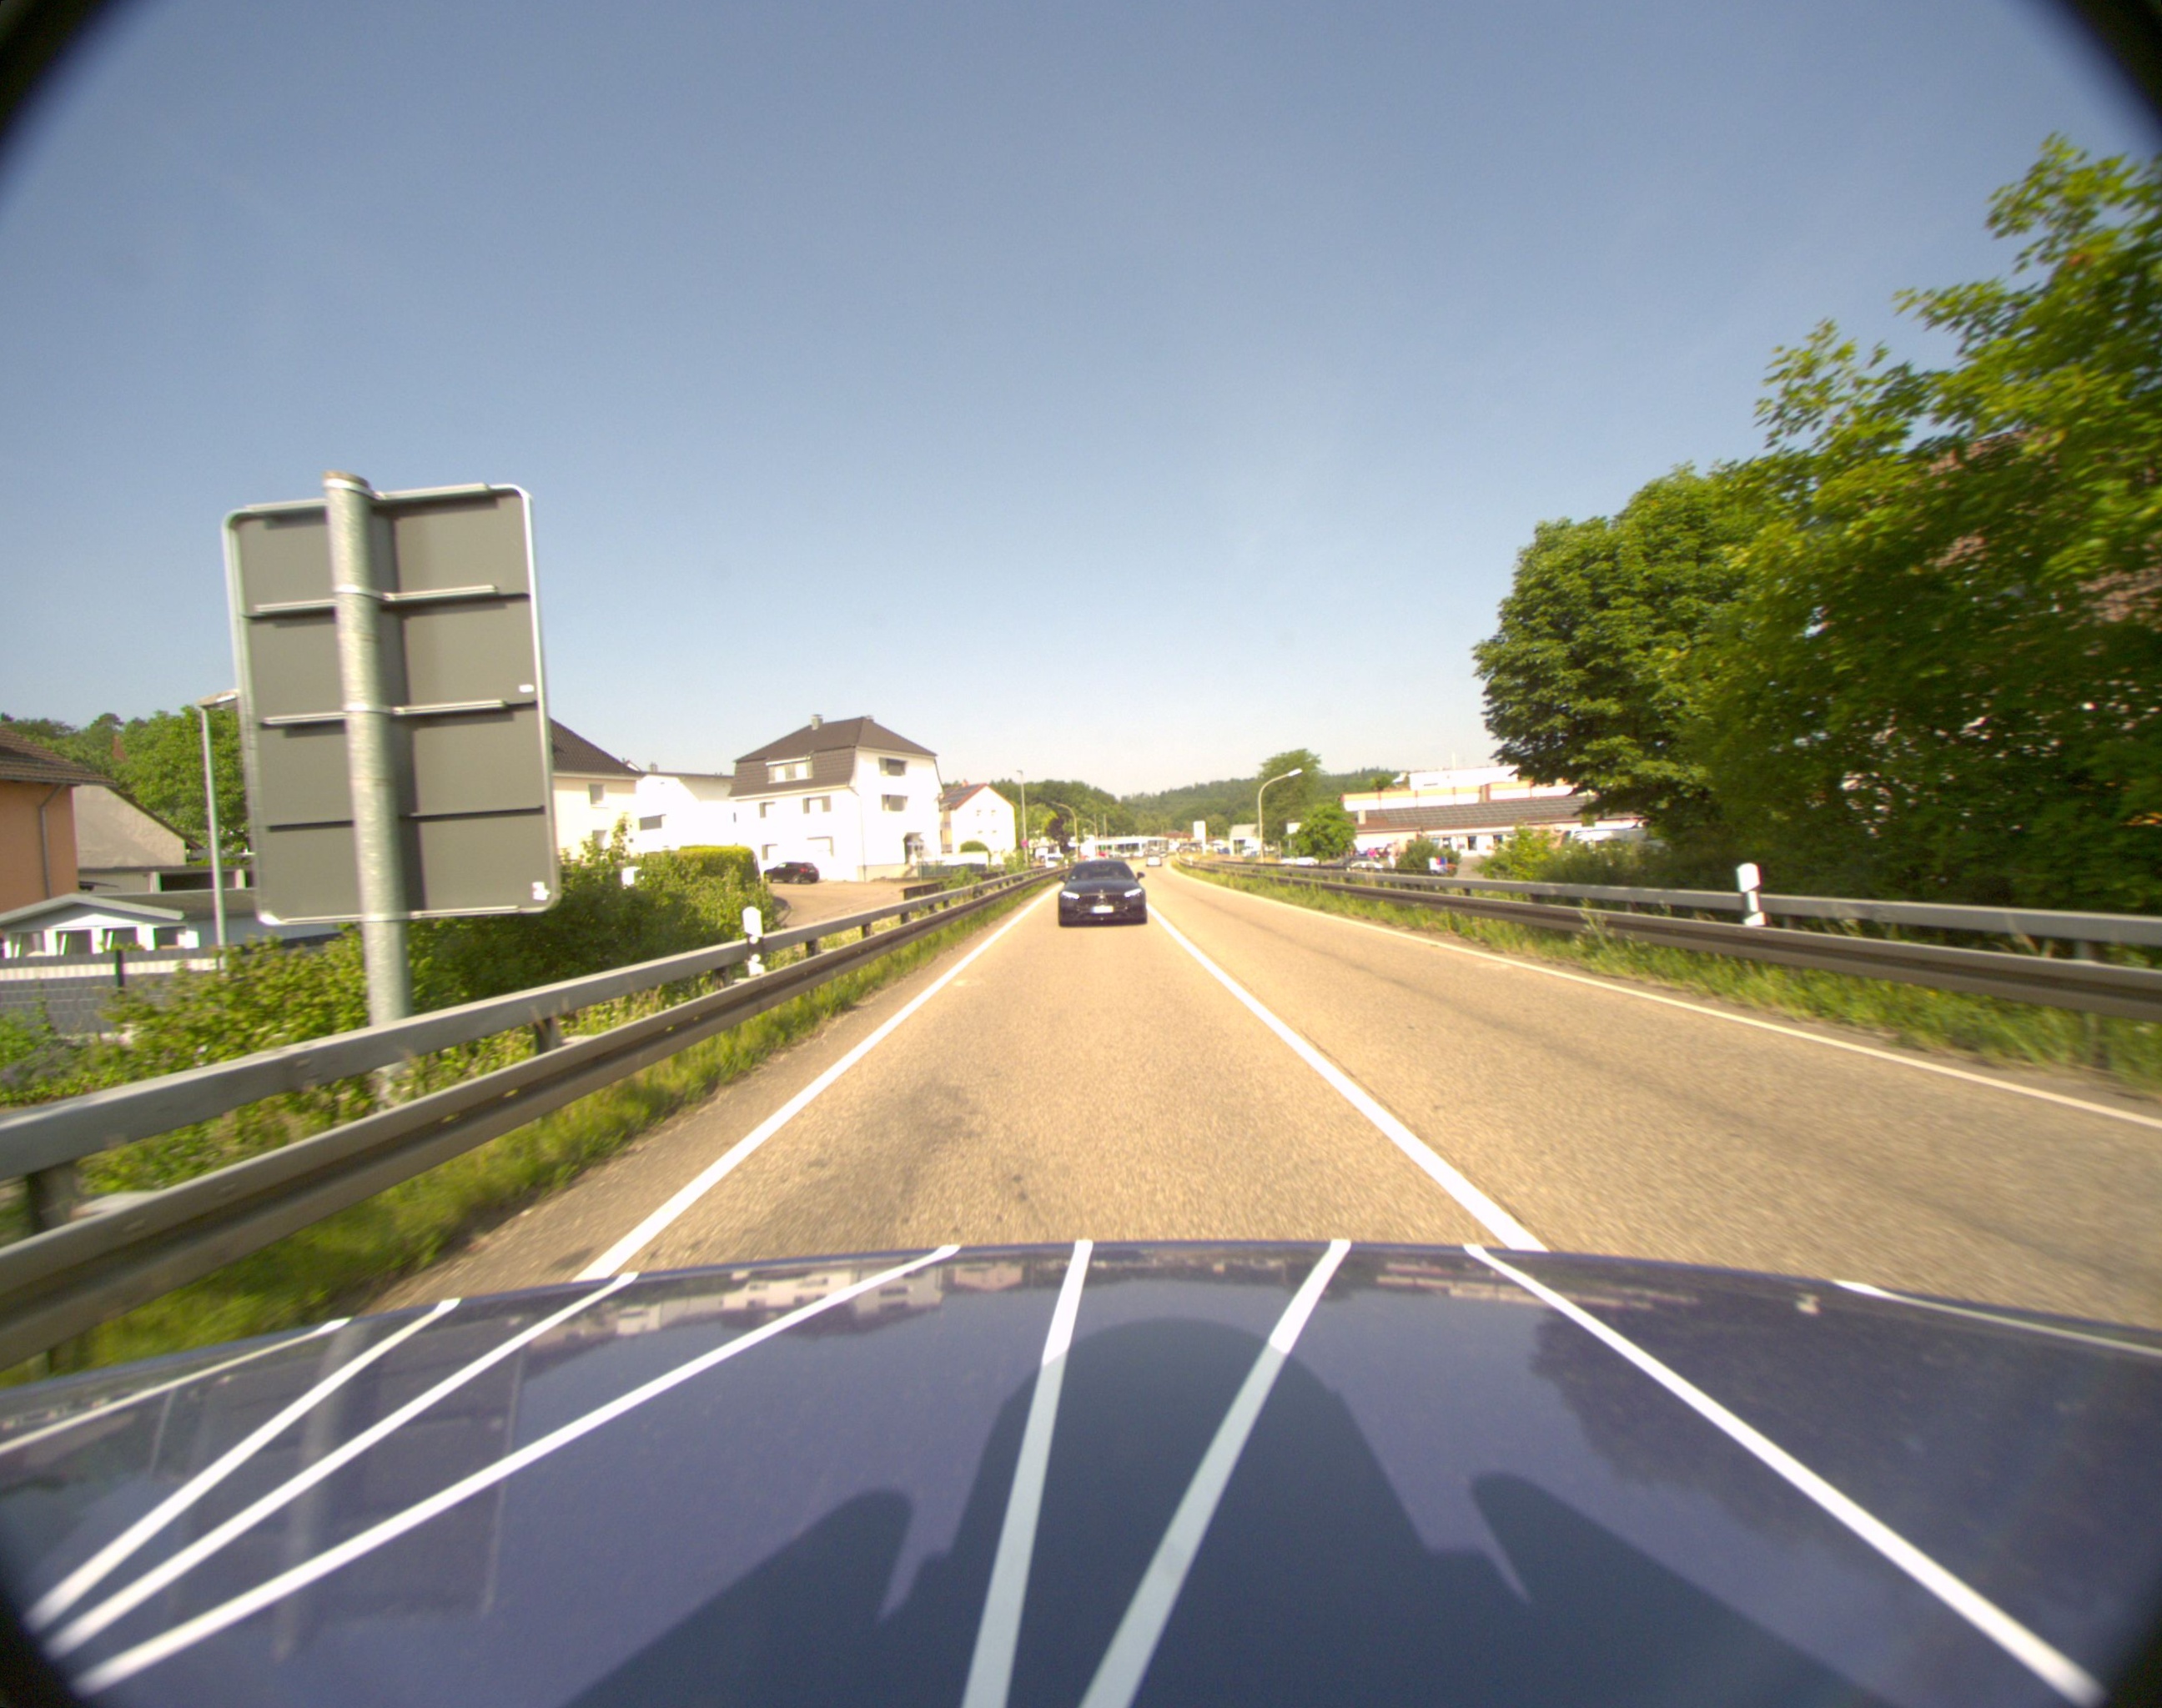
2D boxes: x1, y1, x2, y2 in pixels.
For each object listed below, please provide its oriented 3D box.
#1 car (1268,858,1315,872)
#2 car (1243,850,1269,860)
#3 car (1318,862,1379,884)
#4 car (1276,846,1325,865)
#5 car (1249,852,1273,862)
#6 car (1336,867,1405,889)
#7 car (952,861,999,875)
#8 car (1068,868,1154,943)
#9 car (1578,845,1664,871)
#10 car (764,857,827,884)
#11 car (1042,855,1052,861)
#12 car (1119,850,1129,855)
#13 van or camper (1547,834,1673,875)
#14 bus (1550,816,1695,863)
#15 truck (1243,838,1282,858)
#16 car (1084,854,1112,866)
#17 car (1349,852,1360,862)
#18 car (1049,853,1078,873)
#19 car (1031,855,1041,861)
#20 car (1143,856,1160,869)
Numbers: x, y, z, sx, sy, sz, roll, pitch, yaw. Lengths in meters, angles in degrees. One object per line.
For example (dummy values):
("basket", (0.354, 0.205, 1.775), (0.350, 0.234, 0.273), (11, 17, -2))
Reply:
("car", (22.489, 1.141, 81.271), (4.626, 1.374, 1.743), (-1, 0, 3))
("car", (31.995, 0.213, 138.834), (4.359, 1.645, 1.933), (-2, 1, 8))
("car", (21.586, 1.534, 61.486), (4.309, 1.656, 1.874), (-1, 0, 4))
("car", (24.869, 0.174, 86.061), (4.892, 2.002, 2.004), (-1, 0, 35))
("car", (30.130, 0.481, 127.449), (3.754, 1.491, 1.933), (-2, 1, 10))
("car", (20.939, 1.740, 55.128), (4.308, 1.496, 1.875), (-1, 0, 7))
("car", (-10.520, 1.386, 75.575), (4.598, 1.340, 1.759), (0, 0, 34))
("car", (0.588, 1.105, 17.835), (1.716, 1.382, 4.145), (-1, 1, -2))
("car", (38.295, 0.264, 53.981), (4.565, 1.624, 1.864), (-3, 0, 14))
("car", (-20.313, 1.130, 54.068), (3.988, 1.655, 2.003), (2, 5, 30))
("car", (-7.417, 0.927, 165.499), (1.594, 1.179, 3.659), (-2, 1, -10))
("car", (13.524, -0.406, 238.391), (1.933, 1.556, 4.745), (-1, 1, -14))
("van or camper", (40.366, 0.038, 58.257), (7.406, 2.826, 2.750), (-2, 1, 14))
("bus", (43.514, -1.102, 61.397), (9.113, 3.334, 2.668), (-2, -1, 14))
("truck", (35.949, -1.172, 150.367), (8.226, 3.536, 2.799), (-2, 0, -36))
("car", (2.641, 0.915, 120.786), (4.245, 1.563, 1.918), (-5, 1, -2))
("car", (32.184, 0.356, 89.349), (0.816, 1.139, 2.017), (-1, 2, 10))
("car", (-1.701, 0.856, 75.580), (1.997, 1.933, 5.364), (-1, 0, 8))
("car", (-10.614, 0.894, 177.788), (1.595, 1.179, 3.657), (-2, 1, -14))
("car", (7.827, 0.891, 84.329), (1.762, 1.402, 3.990), (0, 1, 3))
